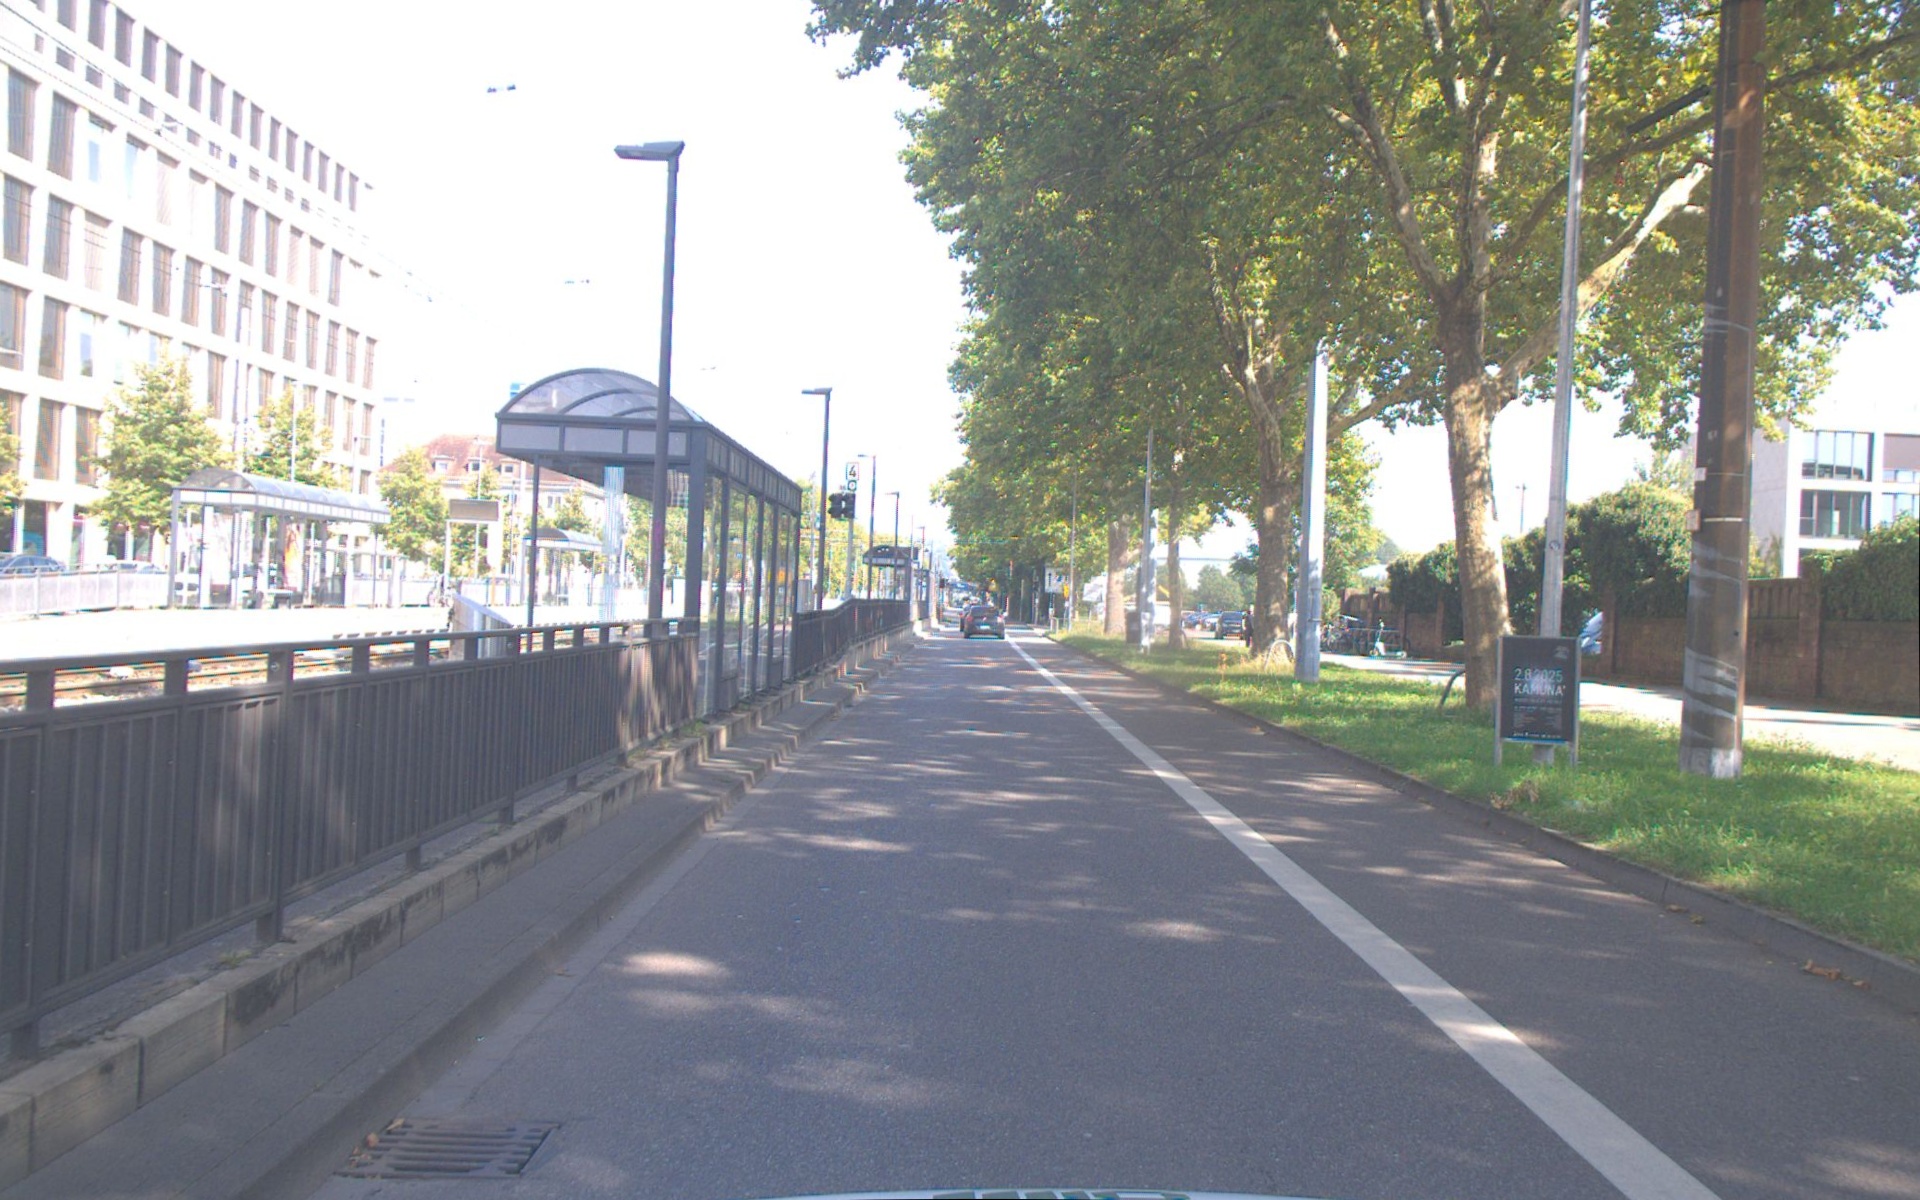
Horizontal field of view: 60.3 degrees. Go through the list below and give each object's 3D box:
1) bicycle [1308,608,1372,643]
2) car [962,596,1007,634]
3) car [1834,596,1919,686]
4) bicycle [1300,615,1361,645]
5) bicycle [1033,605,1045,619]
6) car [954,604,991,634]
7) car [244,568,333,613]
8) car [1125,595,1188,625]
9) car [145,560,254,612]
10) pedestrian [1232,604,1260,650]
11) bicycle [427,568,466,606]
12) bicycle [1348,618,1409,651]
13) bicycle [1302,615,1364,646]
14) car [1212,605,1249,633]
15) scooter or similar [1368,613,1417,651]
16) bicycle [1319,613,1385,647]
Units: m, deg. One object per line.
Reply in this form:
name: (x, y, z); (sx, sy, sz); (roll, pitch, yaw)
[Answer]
bicycle: (14.409, 0.967, 62.824); (2.198, 1.299, 0.998); (0, -1, -1)
car: (1.033, 0.636, 71.543); (1.868, 1.564, 3.999); (0, 0, -1)
car: (20.609, 0.865, 33.864); (4.430, 1.764, 1.909); (1, 0, -2)
bicycle: (13.725, 1.101, 61.318); (2.128, 1.095, 0.743); (0, 0, 4)
bicycle: (6.049, 0.891, 126.263); (0.598, 1.039, 2.401); (2, 0, -4)
car: (0.649, 1.017, 90.758); (1.933, 1.564, 3.999); (-1, 0, -1)
car: (-25.343, -0.344, 62.588); (1.728, 1.631, 4.131); (1, 0, -1)
car: (13.135, 0.691, 110.780); (4.017, 1.952, 1.848); (1, 0, 3)
car: (-24.888, -0.438, 54.285); (1.728, 1.631, 4.131); (1, 0, -1)
pedestrian: (9.898, 0.928, 57.236); (0.767, 1.541, 0.787); (2, 0, 0)
bicycle: (-16.547, -0.423, 53.312); (0.461, 1.167, 1.485); (2, 0, 15)
bicycle: (13.923, 1.154, 55.046); (1.829, 1.024, 0.735); (2, 0, -2)
bicycle: (13.631, 1.113, 60.507); (2.128, 1.095, 0.743); (0, 0, 4)
car: (16.124, 1.115, 98.645); (1.574, 1.603, 3.796); (1, 0, 0)
scooter or similar: (14.115, 1.033, 53.992); (1.474, 1.212, 0.539); (1, -1, 4)
bicycle: (13.817, 1.061, 58.298); (2.129, 1.095, 0.743); (2, 0, -2)
